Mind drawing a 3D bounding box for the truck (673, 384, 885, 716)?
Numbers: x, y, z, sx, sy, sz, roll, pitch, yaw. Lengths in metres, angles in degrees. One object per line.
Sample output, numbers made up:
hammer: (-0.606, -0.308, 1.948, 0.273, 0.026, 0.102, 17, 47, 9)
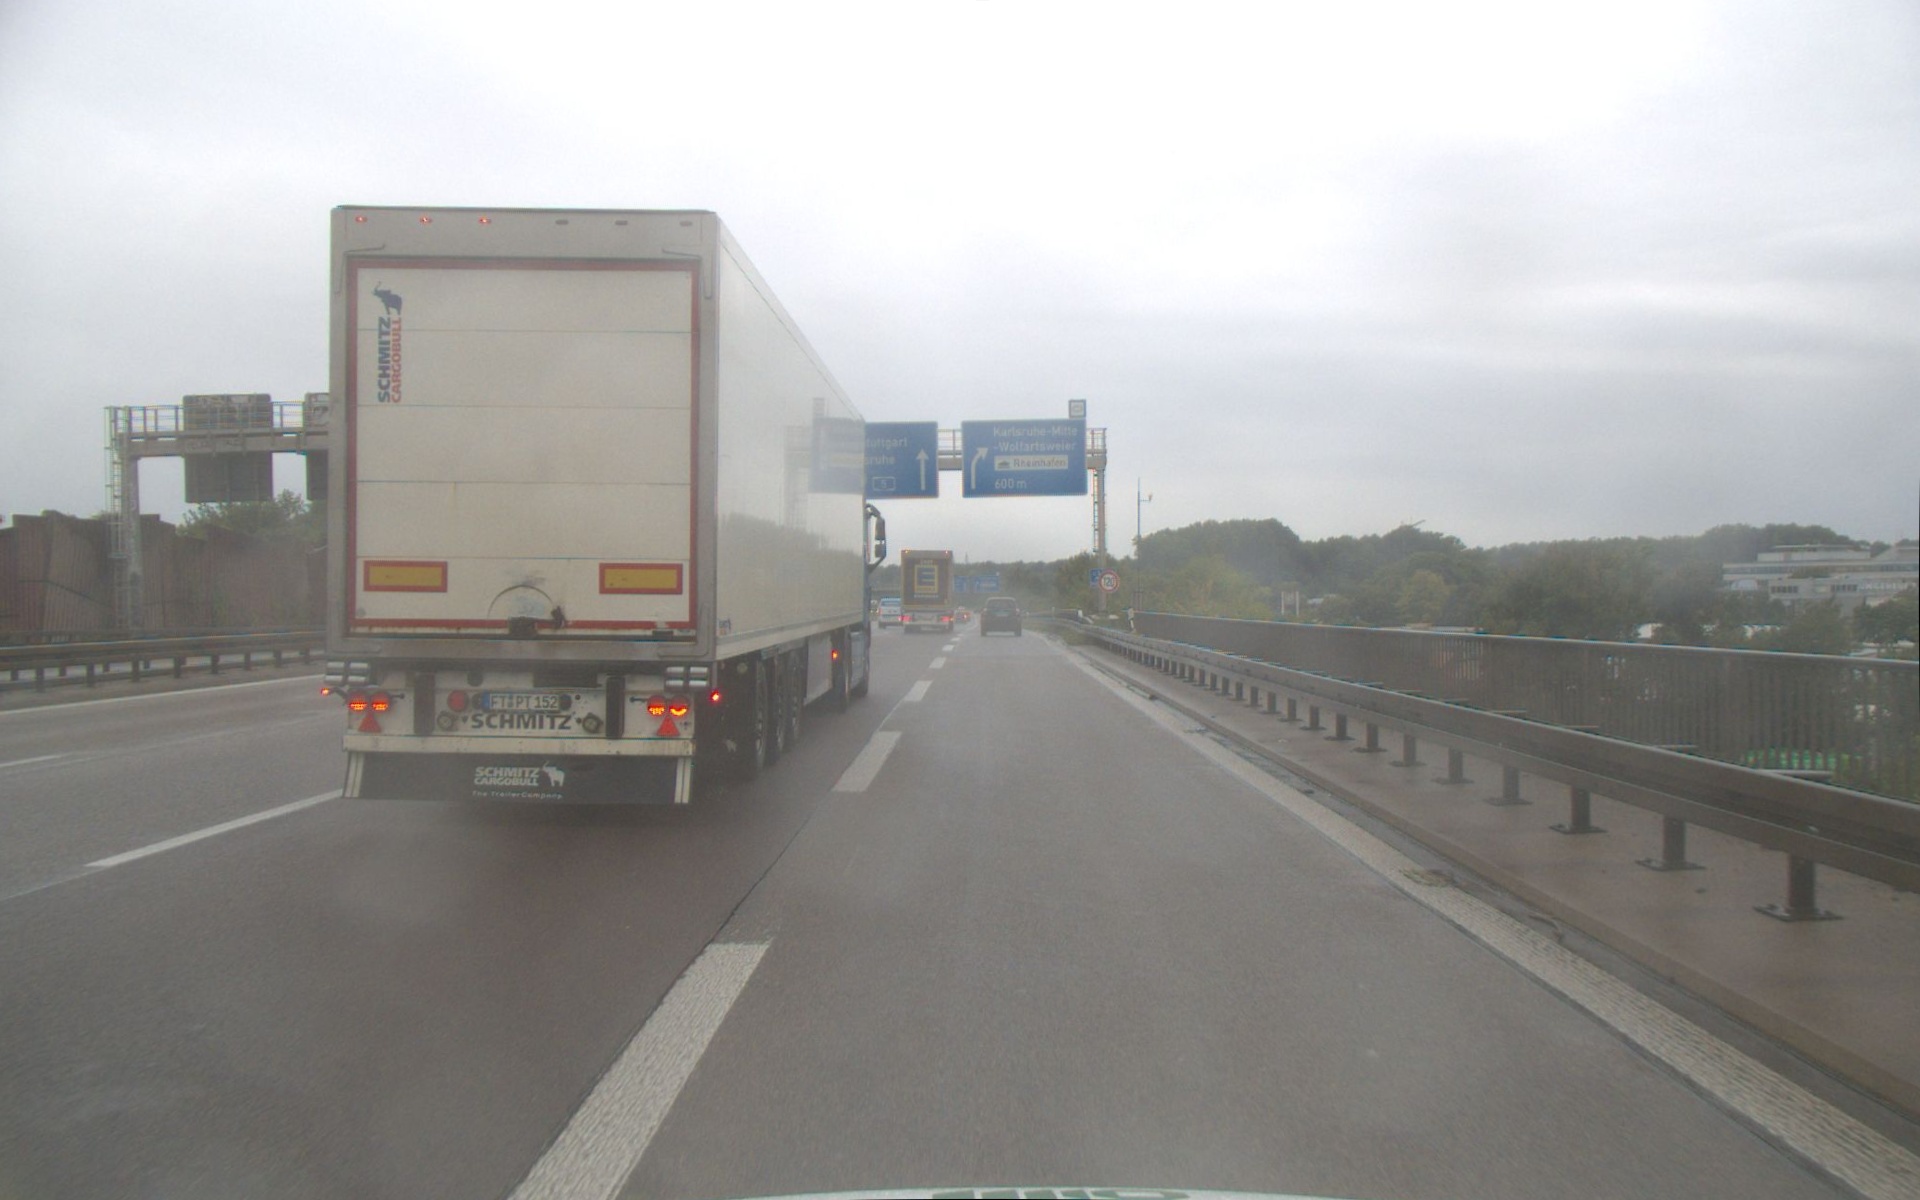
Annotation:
truck: (-2.473, -0.651, 24.449, 2.294, 4.230, 6.347, 1, 0, 1)

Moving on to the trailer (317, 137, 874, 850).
trailer: (-2.565, -0.655, 17.296, 2.294, 4.230, 14.828, 1, 0, 1)

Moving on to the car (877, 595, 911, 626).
car: (-4.357, 0.664, 109.192, 2.007, 1.983, 4.000, 1, 0, 1)

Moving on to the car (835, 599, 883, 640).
car: (-4.490, 0.862, 74.016, 1.855, 1.754, 4.000, 1, 0, 1)

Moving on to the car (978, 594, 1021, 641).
car: (1.779, 0.769, 73.771, 1.858, 1.983, 4.001, 1, 0, 2)

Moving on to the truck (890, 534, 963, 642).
truck: (-1.641, -0.561, 86.756, 3.461, 5.274, 9.893, 1, 0, 1)
